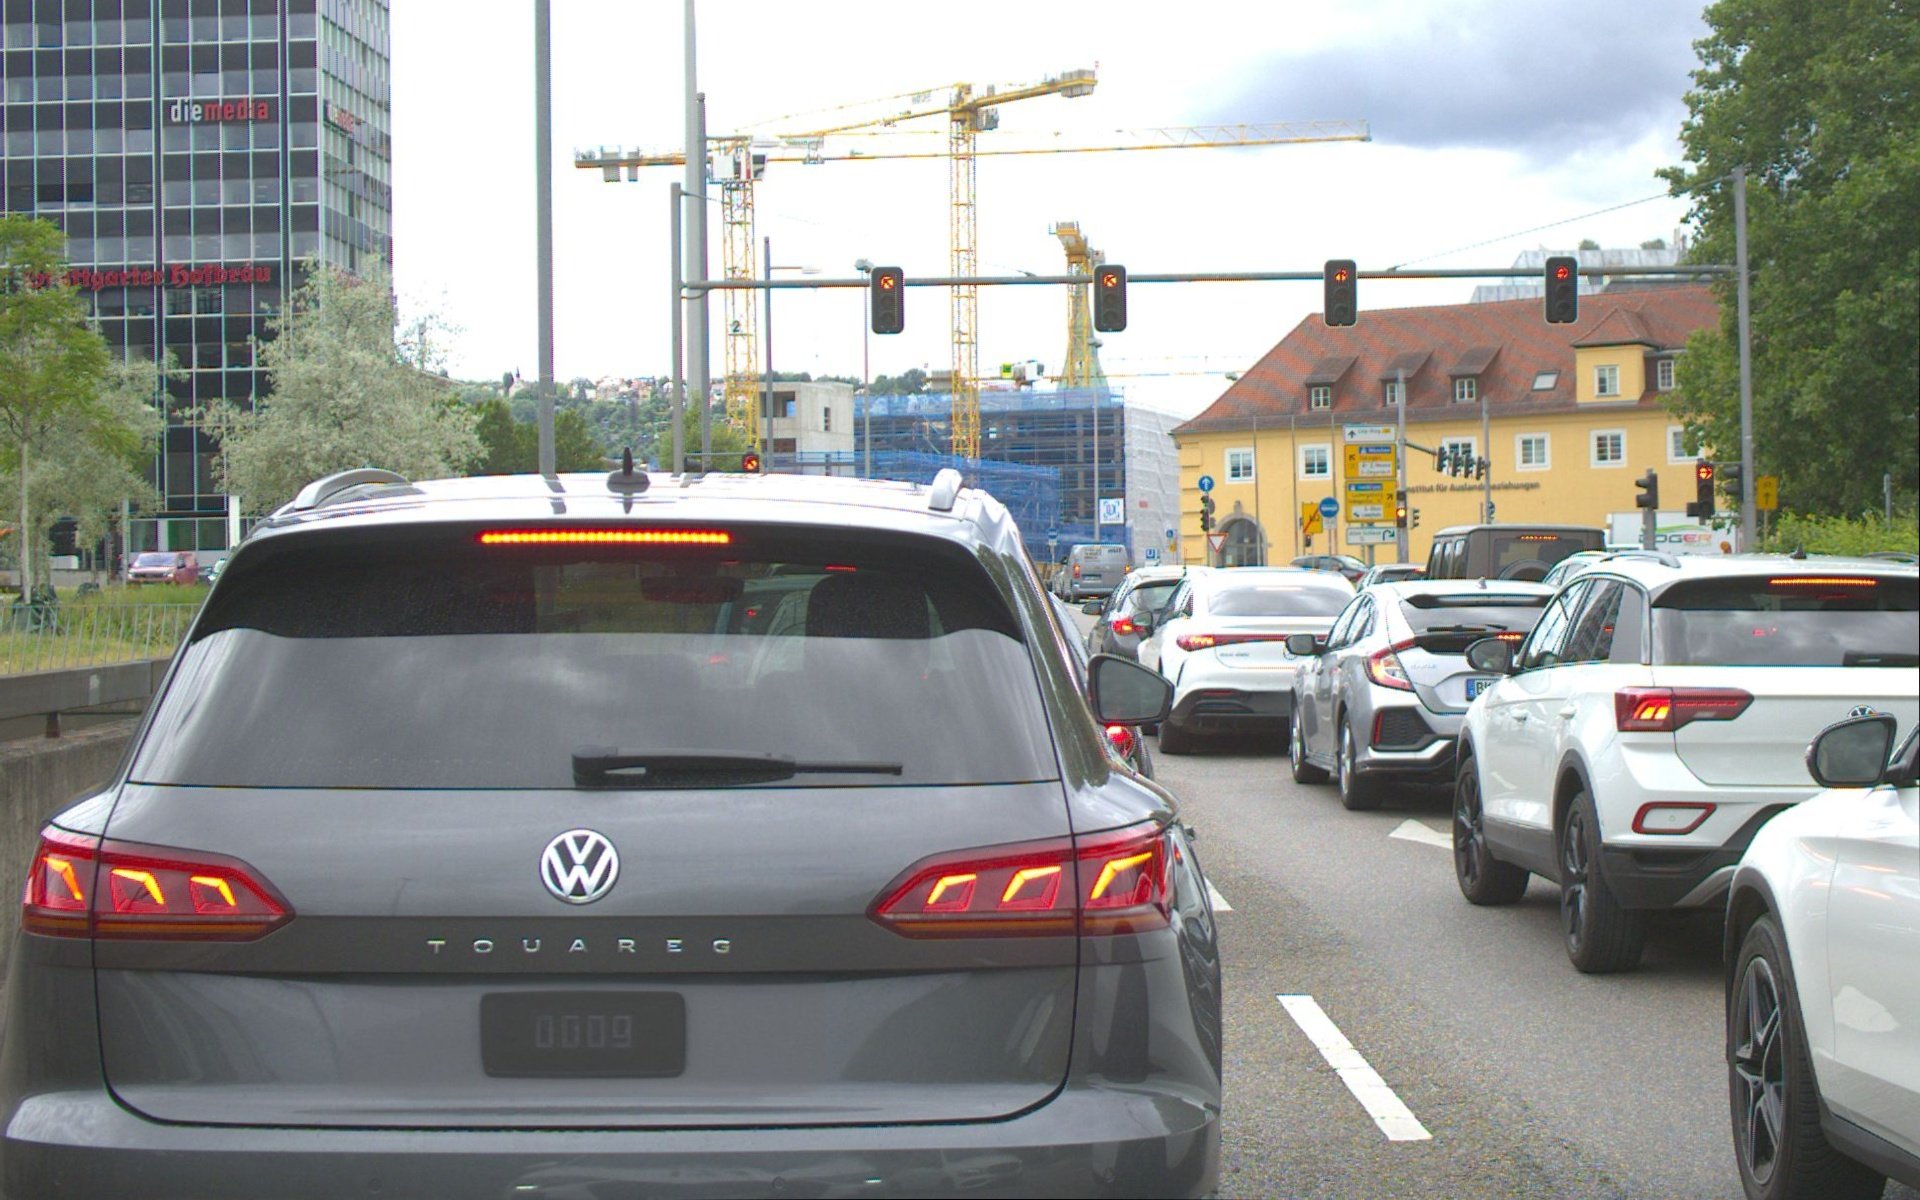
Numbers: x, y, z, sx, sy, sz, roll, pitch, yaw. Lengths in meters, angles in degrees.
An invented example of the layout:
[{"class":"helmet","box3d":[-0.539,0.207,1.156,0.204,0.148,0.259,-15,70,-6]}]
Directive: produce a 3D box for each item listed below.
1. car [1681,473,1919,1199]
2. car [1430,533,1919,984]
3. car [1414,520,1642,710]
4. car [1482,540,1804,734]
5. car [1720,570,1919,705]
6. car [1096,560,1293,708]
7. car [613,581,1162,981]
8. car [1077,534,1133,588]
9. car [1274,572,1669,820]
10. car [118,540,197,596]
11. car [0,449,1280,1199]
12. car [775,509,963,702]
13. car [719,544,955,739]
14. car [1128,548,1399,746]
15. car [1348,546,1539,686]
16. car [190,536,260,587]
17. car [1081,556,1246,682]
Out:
[{"class":"car","box3d":[2.714,0.591,6.210,1.926,1.648,4.490,0,1,1]},{"class":"car","box3d":[3.170,0.544,14.069,1.926,1.545,4.489,0,0,1]},{"class":"car","box3d":[6.394,0.158,39.109,1.910,2.007,4.012,1,0,0]},{"class":"car","box3d":[6.327,0.288,32.343,1.993,1.634,4.305,0,2,-3]},{"class":"car","box3d":[10.169,0.439,40.059,1.932,1.455,4.526,1,0,5]},{"class":"car","box3d":[2.513,0.351,37.742,1.926,1.524,4.047,0,0,1]},{"class":"car","box3d":[-0.289,0.644,14.397,1.951,1.379,3.931,1,1,-1]},{"class":"car","box3d":[4.684,-1.261,111.394,1.619,1.622,4.000,1,-1,0]},{"class":"car","box3d":[3.175,0.552,22.196,1.926,1.427,4.489,0,0,1]},{"class":"car","box3d":[-30.575,-1.234,131.065,1.993,2.006,4.692,0,2,-1]},{"class":"car","box3d":[-0.572,0.597,6.659,1.951,1.646,4.000,0,1,-1]},{"class":"car","box3d":[-0.997,0.037,38.557,1.951,2.011,3.931,1,1,-1]},{"class":"car","box3d":[-1.068,0.330,31.025,1.951,1.594,3.931,1,1,-1]},{"class":"car","box3d":[2.467,0.362,28.921,1.926,1.524,4.489,0,0,1]},{"class":"car","box3d":[6.230,0.192,44.689,1.910,1.691,4.012,1,0,0]},{"class":"car","box3d":[-30.967,-1.637,144.889,1.993,2.006,4.692,0,2,-1]},{"class":"car","box3d":[2.557,0.232,44.030,1.926,1.524,4.047,0,0,1]}]
